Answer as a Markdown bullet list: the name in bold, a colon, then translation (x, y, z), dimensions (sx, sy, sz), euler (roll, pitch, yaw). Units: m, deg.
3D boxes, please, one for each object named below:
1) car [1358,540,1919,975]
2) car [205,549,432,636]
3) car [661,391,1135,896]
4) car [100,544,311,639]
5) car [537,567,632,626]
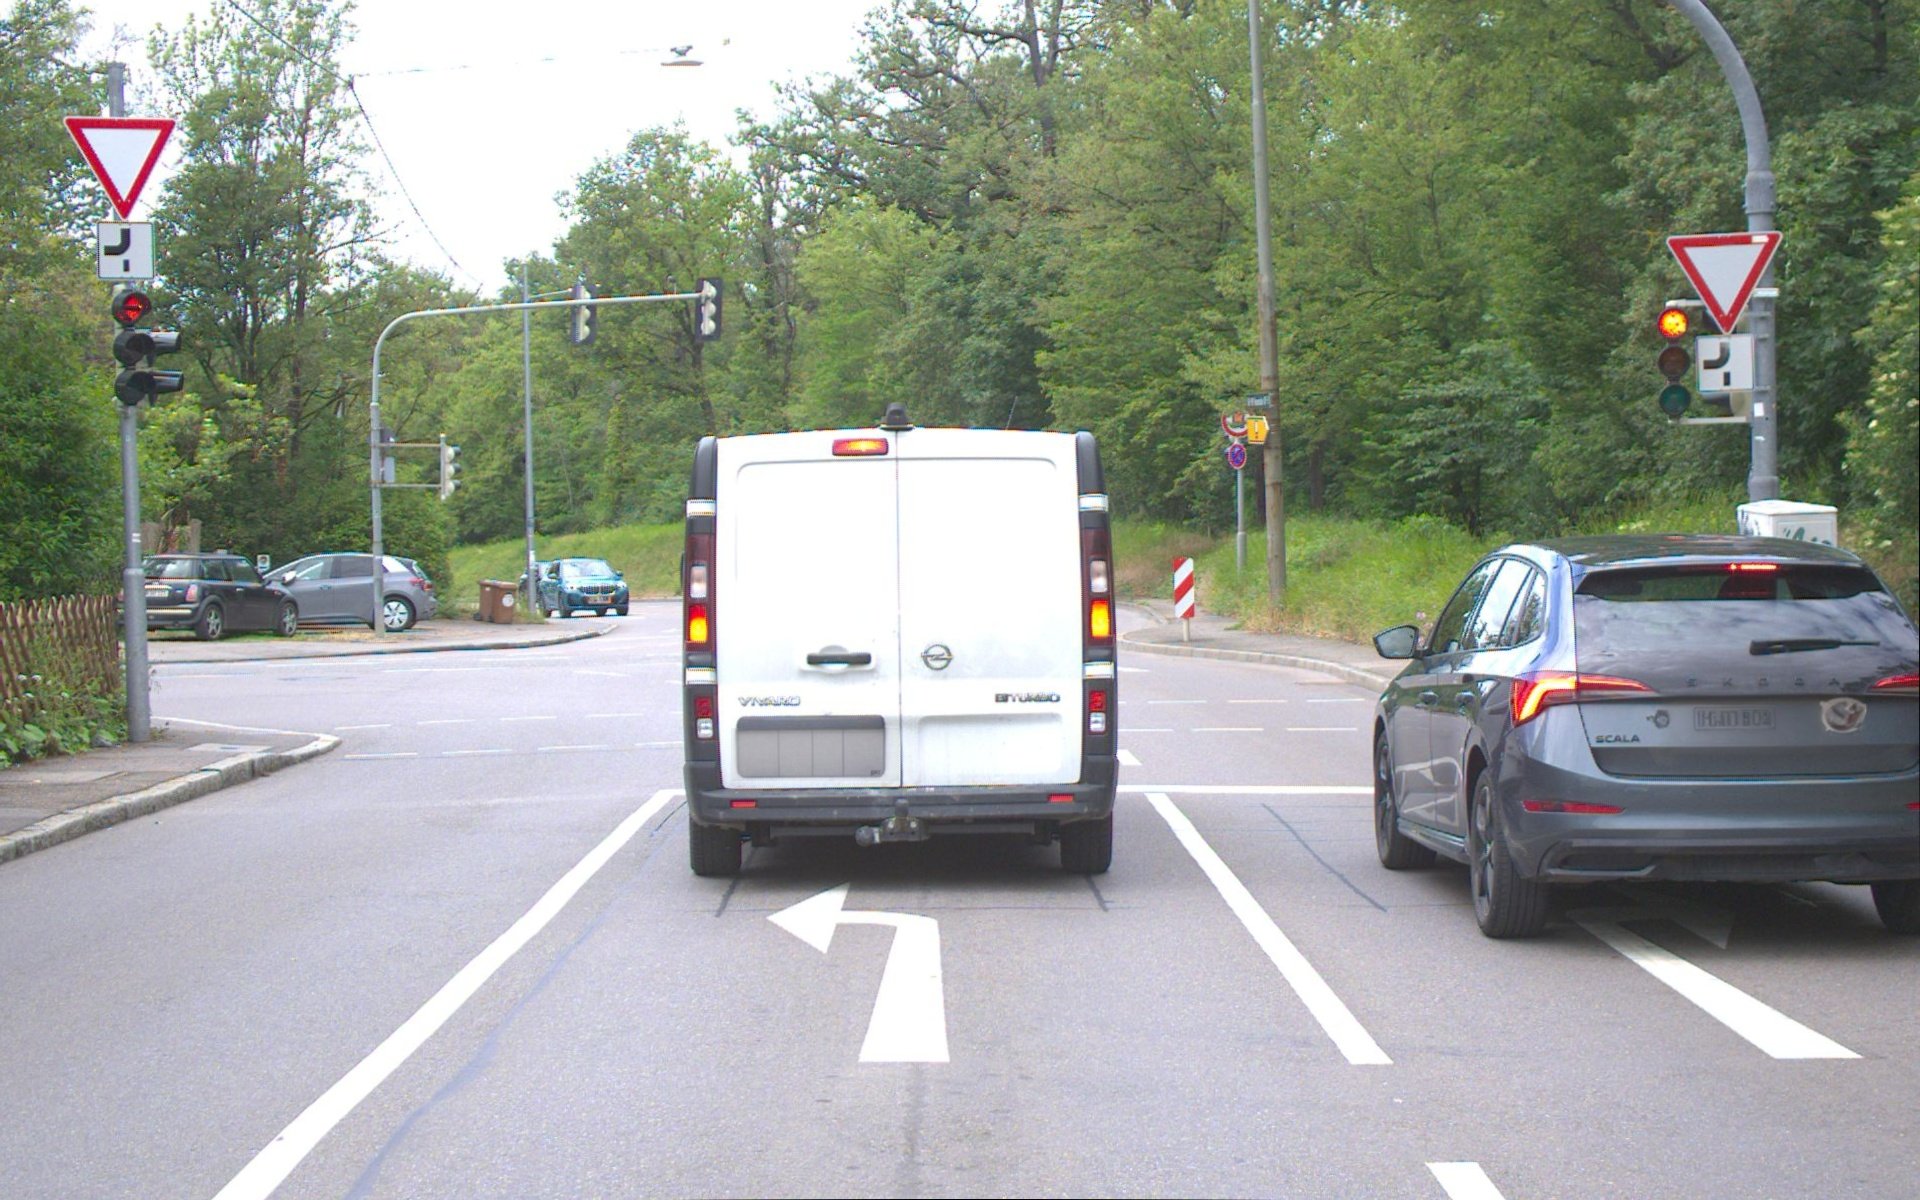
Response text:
- **car**: translation (2.711, 0.501, 13.654), dimensions (1.792, 1.445, 4.000), euler (-1, 1, 0)
- **car**: translation (-12.348, -0.161, 66.089), dimensions (4.085, 1.548, 1.855), euler (-1, 2, -17)
- **car**: translation (-0.349, 0.138, 16.399), dimensions (1.916, 2.046, 4.615), euler (1, 1, -2)
- **car**: translation (-12.190, -0.150, 55.723), dimensions (1.699, 1.444, 3.539), euler (2, 1, 20)
- **car**: translation (-10.373, -0.120, 94.737), dimensions (1.856, 1.501, 4.001), euler (-2, 1, -17)
